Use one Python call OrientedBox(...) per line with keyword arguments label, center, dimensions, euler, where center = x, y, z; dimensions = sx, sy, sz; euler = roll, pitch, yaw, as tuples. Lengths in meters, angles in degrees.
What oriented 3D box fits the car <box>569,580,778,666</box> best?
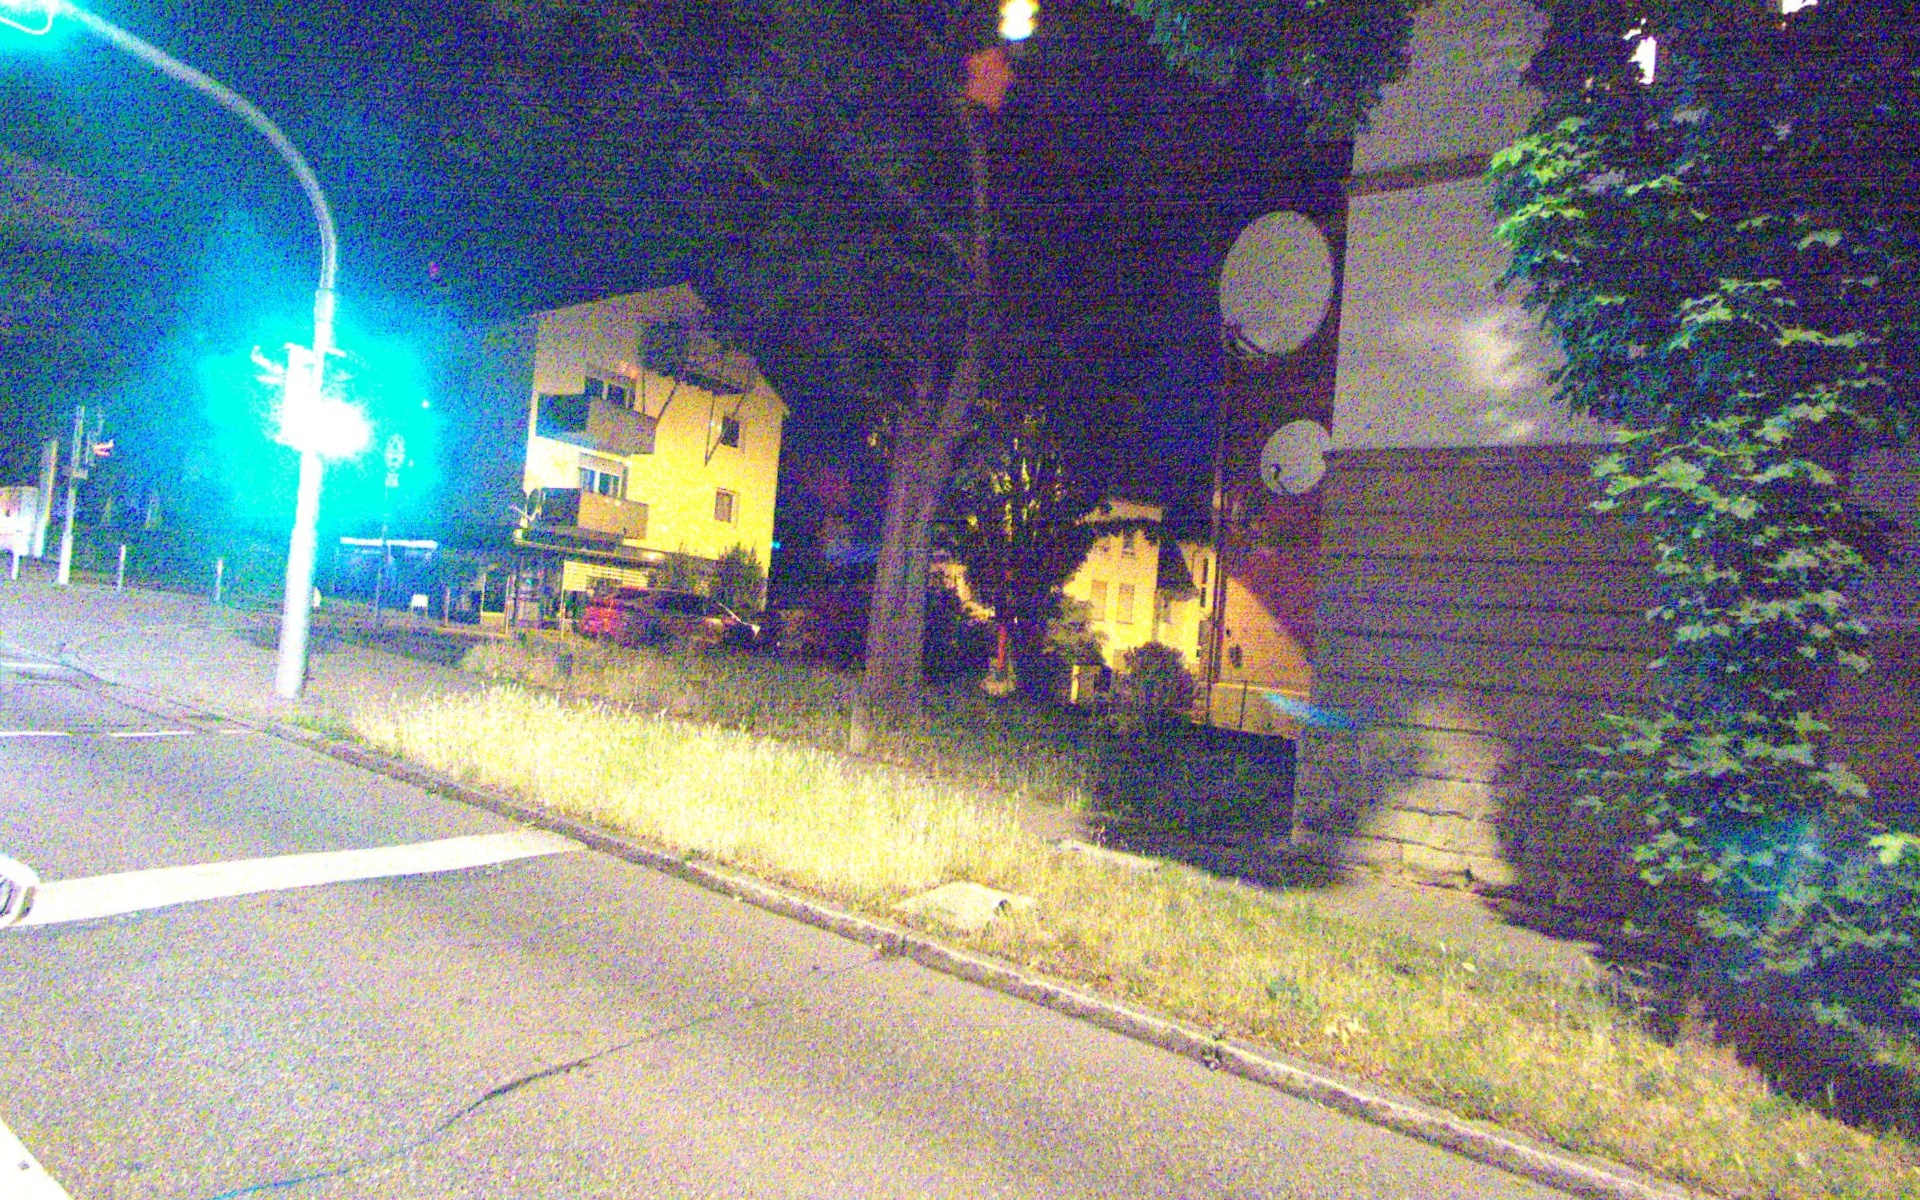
OrientedBox(label="car", center=(-6.508, 0.579, 23.298), dimensions=(1.778, 1.577, 4.366), euler=(3, -3, 38))
